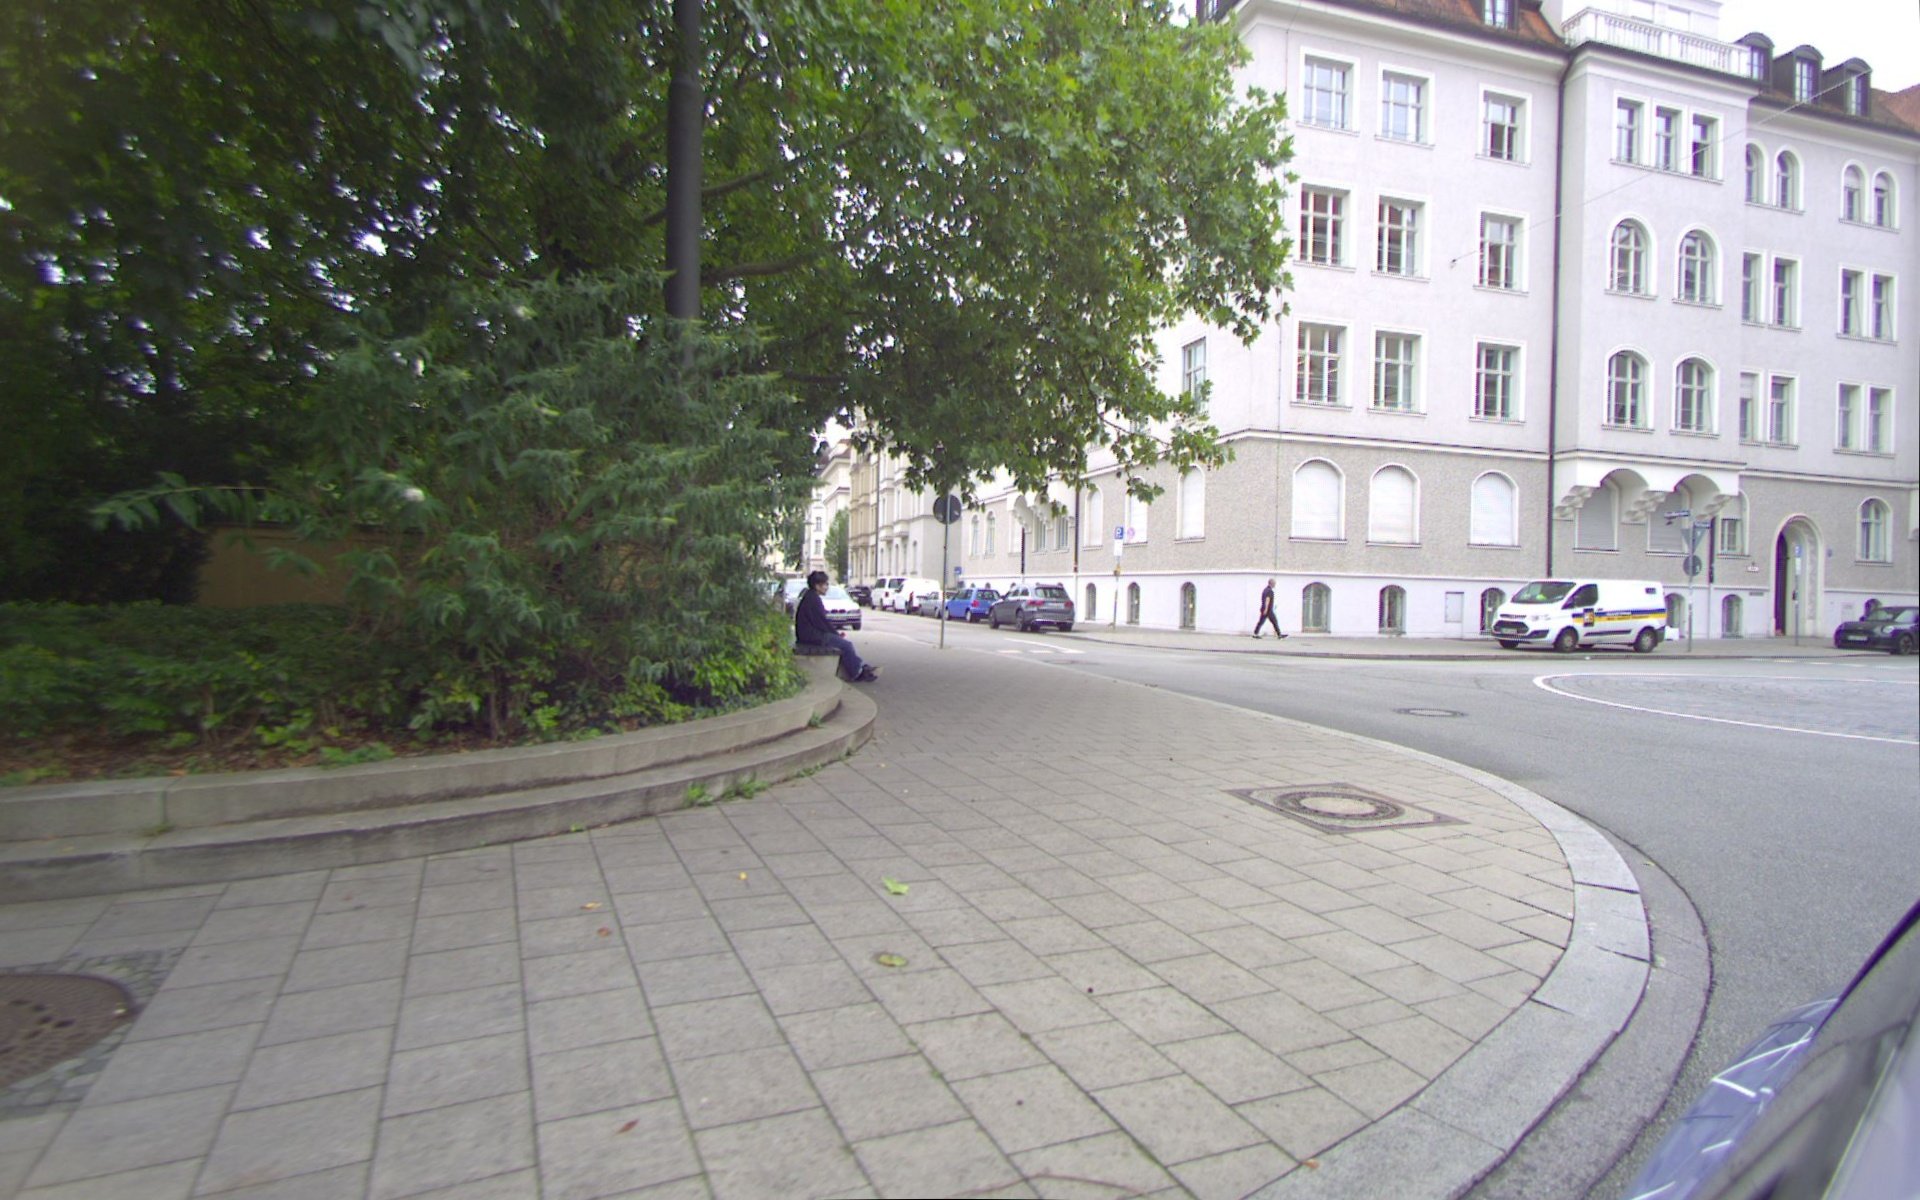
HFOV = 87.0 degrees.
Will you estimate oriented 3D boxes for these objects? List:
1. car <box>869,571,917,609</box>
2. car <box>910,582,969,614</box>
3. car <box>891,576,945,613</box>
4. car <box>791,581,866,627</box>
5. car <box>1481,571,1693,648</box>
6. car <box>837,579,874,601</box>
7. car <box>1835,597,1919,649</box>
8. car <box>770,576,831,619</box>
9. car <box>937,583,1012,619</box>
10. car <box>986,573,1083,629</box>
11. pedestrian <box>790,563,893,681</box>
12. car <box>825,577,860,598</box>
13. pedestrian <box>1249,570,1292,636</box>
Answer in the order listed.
[{"bbox_3d":[-3.887,-0.604,58.036,1.780,2.061,4.044,1,1,-18],"label":"car"},{"bbox_3d":[-1.018,-0.126,48.457,1.759,1.422,3.848,1,1,-18],"label":"car"},{"bbox_3d":[-2.210,-0.323,52.058,1.759,1.805,3.848,1,1,-18],"label":"car"},{"bbox_3d":[-4.426,0.083,33.524,1.763,1.385,4.475,1,1,-17],"label":"car"},{"bbox_3d":[17.066,0.245,27.568,5.261,1.945,1.949,1,2,-19],"label":"car"},{"bbox_3d":[-7.412,-0.740,71.403,1.780,1.444,3.848,1,1,-18],"label":"car"},{"bbox_3d":[28.966,0.691,30.847,3.746,1.463,1.722,1,1,-18],"label":"car"},{"bbox_3d":[-6.209,-0.124,39.066,1.758,1.566,3.966,1,1,-17],"label":"car"},{"bbox_3d":[0.549,0.001,42.788,1.853,1.422,4.260,1,1,-18],"label":"car"},{"bbox_3d":[2.507,-0.006,35.141,1.853,1.818,4.260,1,1,-18],"label":"car"},{"bbox_3d":[-1.452,0.261,12.292,1.107,1.374,0.773,1,0,-16],"label":"pedestrian"},{"bbox_3d":[-8.813,-0.950,75.735,1.780,1.444,3.848,1,1,-18],"label":"car"},{"bbox_3d":[8.778,0.074,28.586,0.923,1.823,0.988,1,1,32],"label":"pedestrian"}]
